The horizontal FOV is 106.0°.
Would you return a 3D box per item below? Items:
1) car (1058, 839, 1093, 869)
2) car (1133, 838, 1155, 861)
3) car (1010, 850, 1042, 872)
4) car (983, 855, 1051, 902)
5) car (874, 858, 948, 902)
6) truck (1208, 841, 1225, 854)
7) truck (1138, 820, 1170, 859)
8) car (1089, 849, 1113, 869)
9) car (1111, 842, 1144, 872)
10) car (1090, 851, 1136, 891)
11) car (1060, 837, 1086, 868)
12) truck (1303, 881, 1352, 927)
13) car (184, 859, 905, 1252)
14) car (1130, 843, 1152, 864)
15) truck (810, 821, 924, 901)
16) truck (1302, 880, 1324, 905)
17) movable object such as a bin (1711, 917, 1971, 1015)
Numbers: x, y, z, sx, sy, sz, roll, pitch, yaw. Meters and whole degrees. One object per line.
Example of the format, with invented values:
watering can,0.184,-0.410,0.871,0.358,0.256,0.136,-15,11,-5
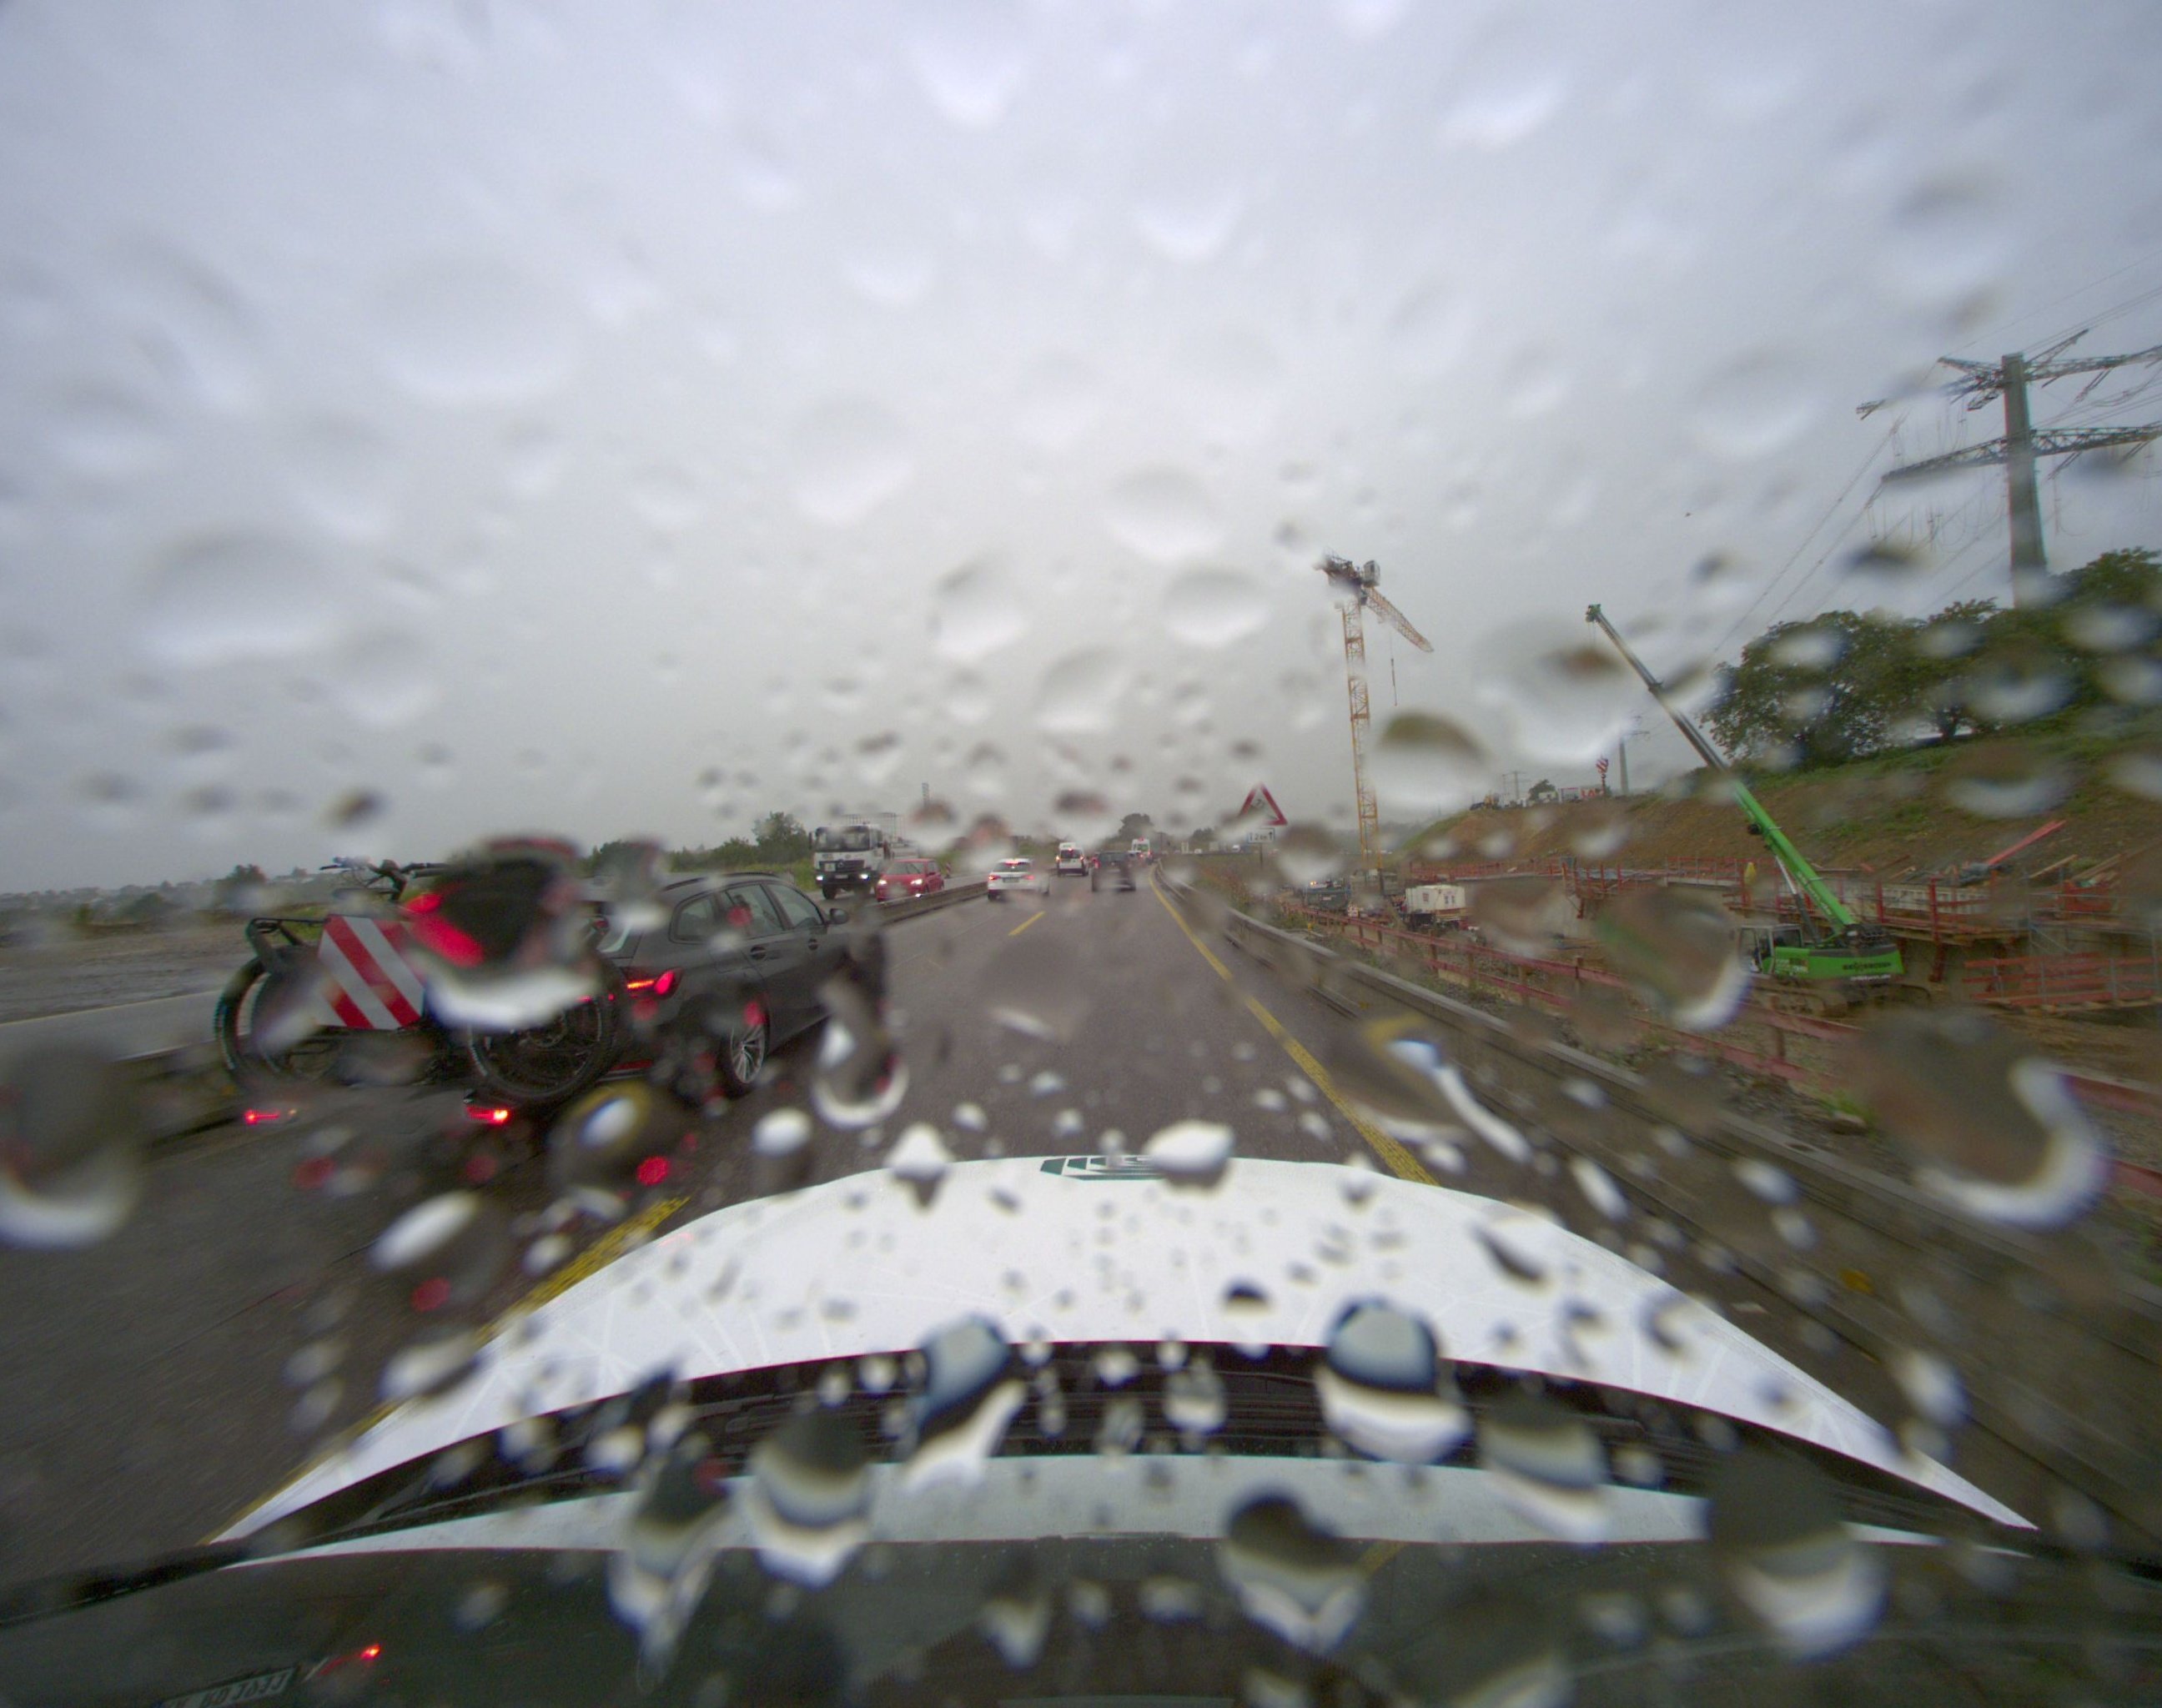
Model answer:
car,-0.326,0.021,53.139,1.817,1.815,4.007,0,-1,6
car,6.848,-0.465,88.127,1.814,2.437,4.170,-1,-1,11
car,-3.959,0.486,59.107,1.740,1.495,4.753,-1,0,3
car,-2.161,0.810,28.473,1.818,1.499,4.004,0,-1,3
car,-5.767,0.855,28.010,1.631,1.396,3.594,0,0,2
truck,38.385,-1.862,230.805,3.444,3.715,8.457,-2,0,18
truck,10.001,-1.824,110.766,3.523,5.077,10.467,-1,-1,9
car,1.968,0.487,78.477,1.816,1.815,4.008,-1,-1,8
car,2.991,0.228,51.738,1.817,1.815,4.007,0,-1,7
car,1.362,0.703,34.389,1.819,1.591,4.003,0,-1,3
car,-0.821,-0.178,85.046,1.984,3.045,7.181,0,0,5
truck,21.337,4.260,70.893,2.684,3.503,8.966,-1,-1,8
car,-2.892,0.878,6.291,1.729,1.462,5.630,-1,2,1
car,5.486,0.001,74.064,1.816,1.815,4.008,-1,-1,7
truck,-8.628,0.249,33.695,2.347,2.894,6.557,-3,0,5
truck,35.798,5.881,125.729,2.711,3.491,9.096,-1,-1,13
movable object such as a bin,24.195,3.511,26.380,3.776,2.805,4.857,-2,-5,3
